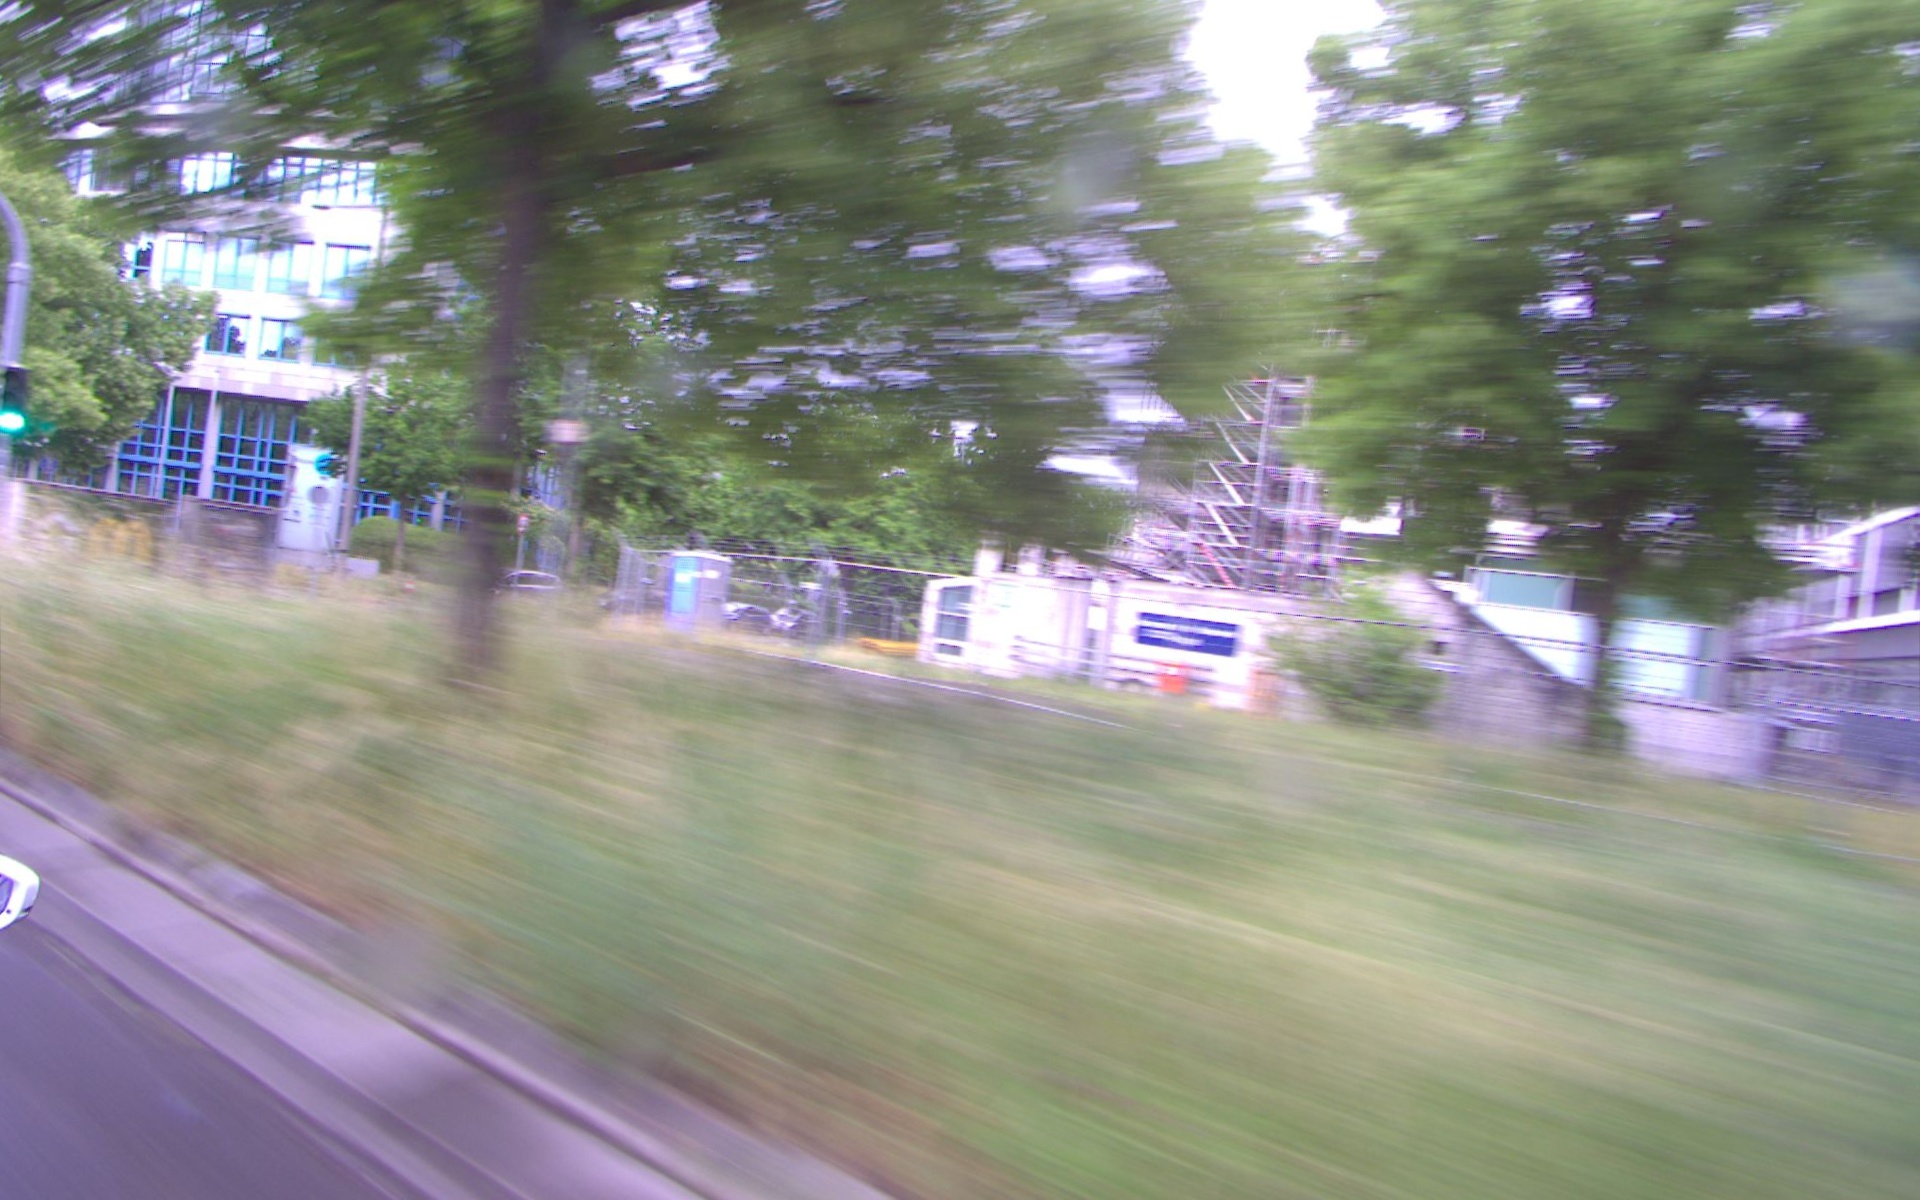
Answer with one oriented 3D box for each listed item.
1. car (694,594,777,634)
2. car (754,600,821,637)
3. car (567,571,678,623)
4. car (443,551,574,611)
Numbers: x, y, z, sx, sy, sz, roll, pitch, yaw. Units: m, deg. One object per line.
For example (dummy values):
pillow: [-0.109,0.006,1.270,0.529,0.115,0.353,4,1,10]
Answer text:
car: [-11.050,0.731,49.861,1.726,1.450,4.109,10,0,25]
car: [-9.294,1.040,54.557,1.725,1.640,4.112,10,0,17]
car: [-14.335,-0.097,42.871,1.730,1.597,4.099,10,0,36]
car: [-17.215,-0.690,38.491,1.730,1.661,4.099,10,0,36]
